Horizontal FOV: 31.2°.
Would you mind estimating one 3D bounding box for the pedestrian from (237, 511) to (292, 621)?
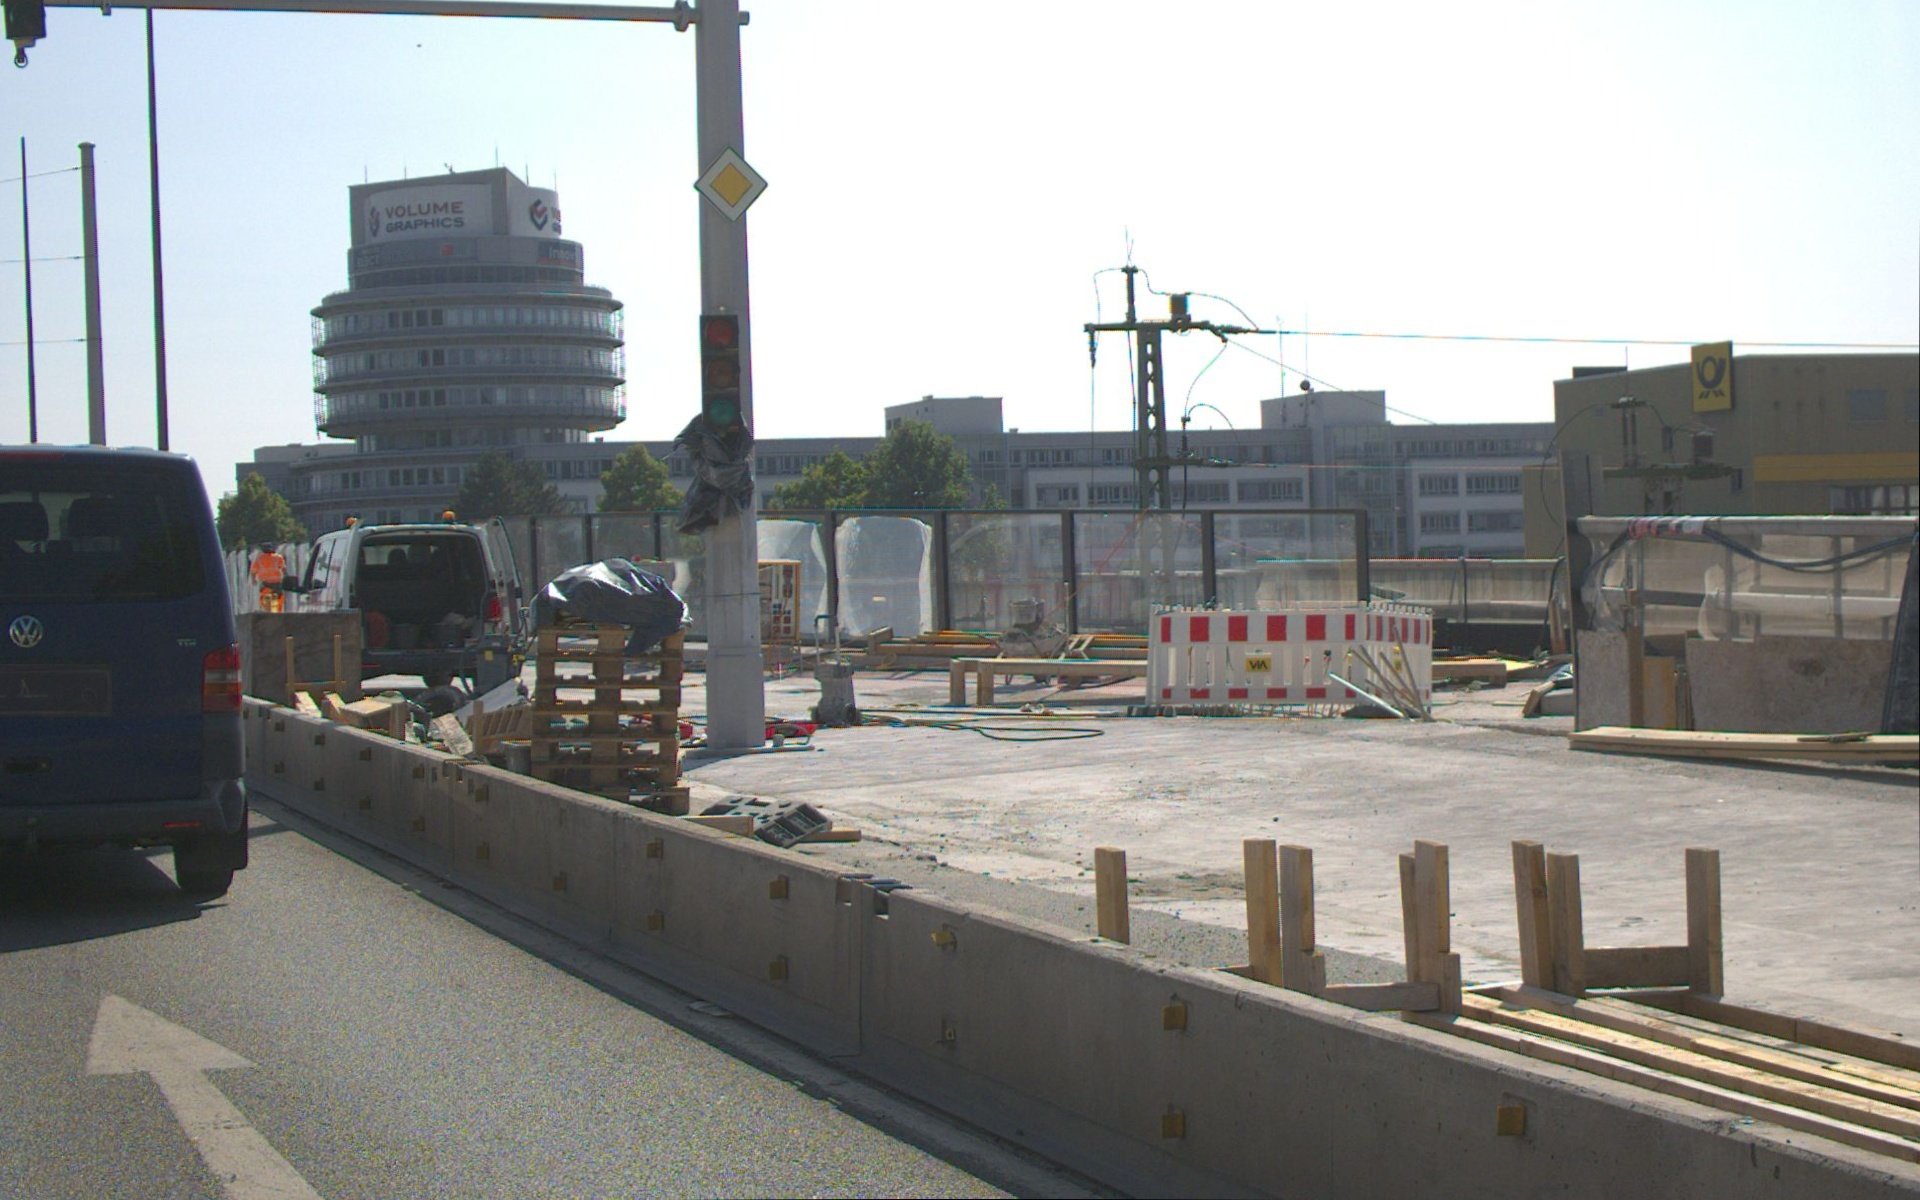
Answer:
[{"bbox_3d":[-12.539,-0.603,61.995,0.782,1.928,0.799,-3,0,-19],"label":"pedestrian"}]

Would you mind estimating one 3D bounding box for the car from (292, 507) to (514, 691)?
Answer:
[{"bbox_3d":[-6.665,-0.018,40.717,1.878,2.026,4.892,-1,0,-18],"label":"car"}]

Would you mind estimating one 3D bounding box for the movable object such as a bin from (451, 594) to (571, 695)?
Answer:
[{"bbox_3d":[-4.866,0.475,37.258,0.940,1.070,0.890,0,1,27],"label":"movable object such as a bin"}]

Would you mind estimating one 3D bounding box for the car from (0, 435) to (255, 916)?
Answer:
[{"bbox_3d":[-4.494,0.289,15.606,1.815,1.899,4.055,-2,1,-21],"label":"car"}]
